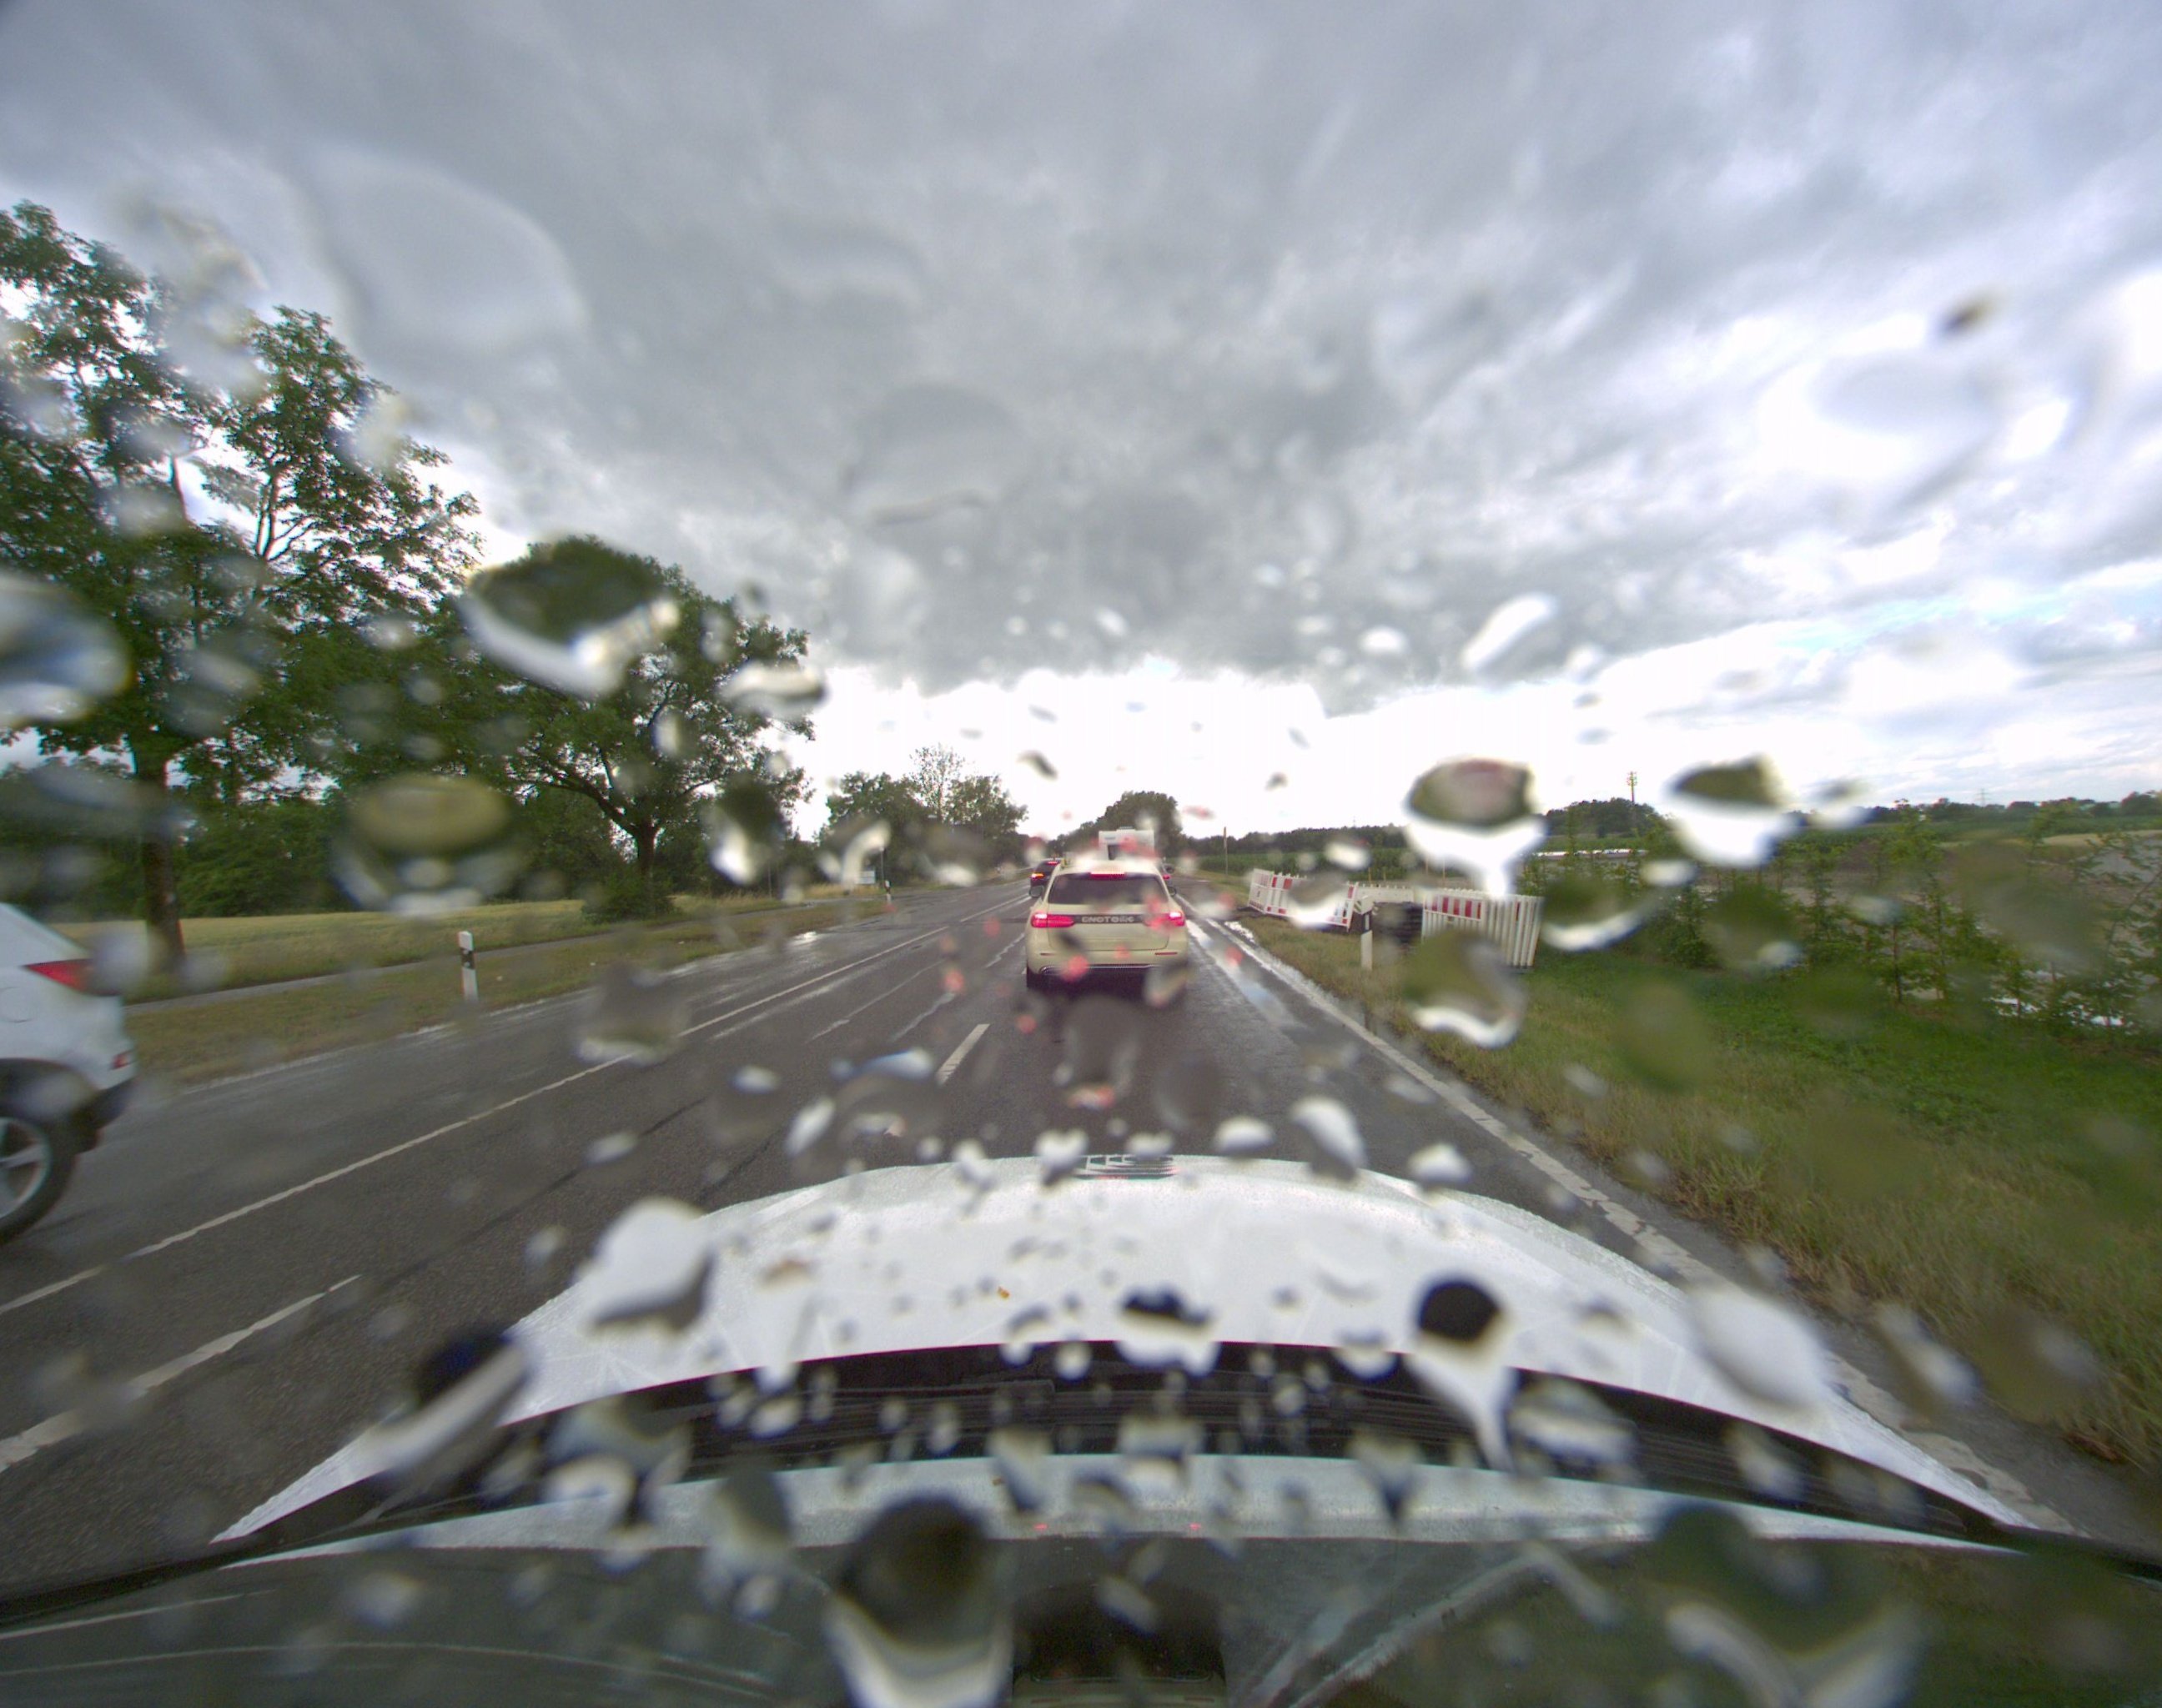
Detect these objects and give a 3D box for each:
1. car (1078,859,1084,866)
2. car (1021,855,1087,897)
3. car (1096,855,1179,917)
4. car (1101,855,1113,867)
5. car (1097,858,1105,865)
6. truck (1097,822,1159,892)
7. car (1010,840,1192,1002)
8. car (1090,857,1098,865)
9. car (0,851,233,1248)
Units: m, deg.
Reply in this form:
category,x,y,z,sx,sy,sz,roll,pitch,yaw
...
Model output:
category,x,y,z,sx,sy,sz,roll,pitch,yaw
car,0.043,2.645,254.431,1.888,1.839,3.884,-2,0,2
car,-1.007,0.843,32.638,2.293,1.547,4.634,0,0,2
car,1.429,0.785,21.579,1.986,1.462,4.002,0,0,2
car,4.129,1.141,129.800,1.784,1.777,3.723,-3,0,2
car,4.459,1.613,181.848,1.675,1.550,3.754,-1,0,2
truck,2.042,0.114,36.539,2.354,2.729,7.318,-3,0,2
car,0.283,0.697,10.328,1.835,1.618,4.002,-1,0,2
car,3.274,1.776,209.955,1.890,1.895,3.841,-3,0,-1
car,-5.517,0.882,2.280,1.697,1.671,4.159,-4,0,3
